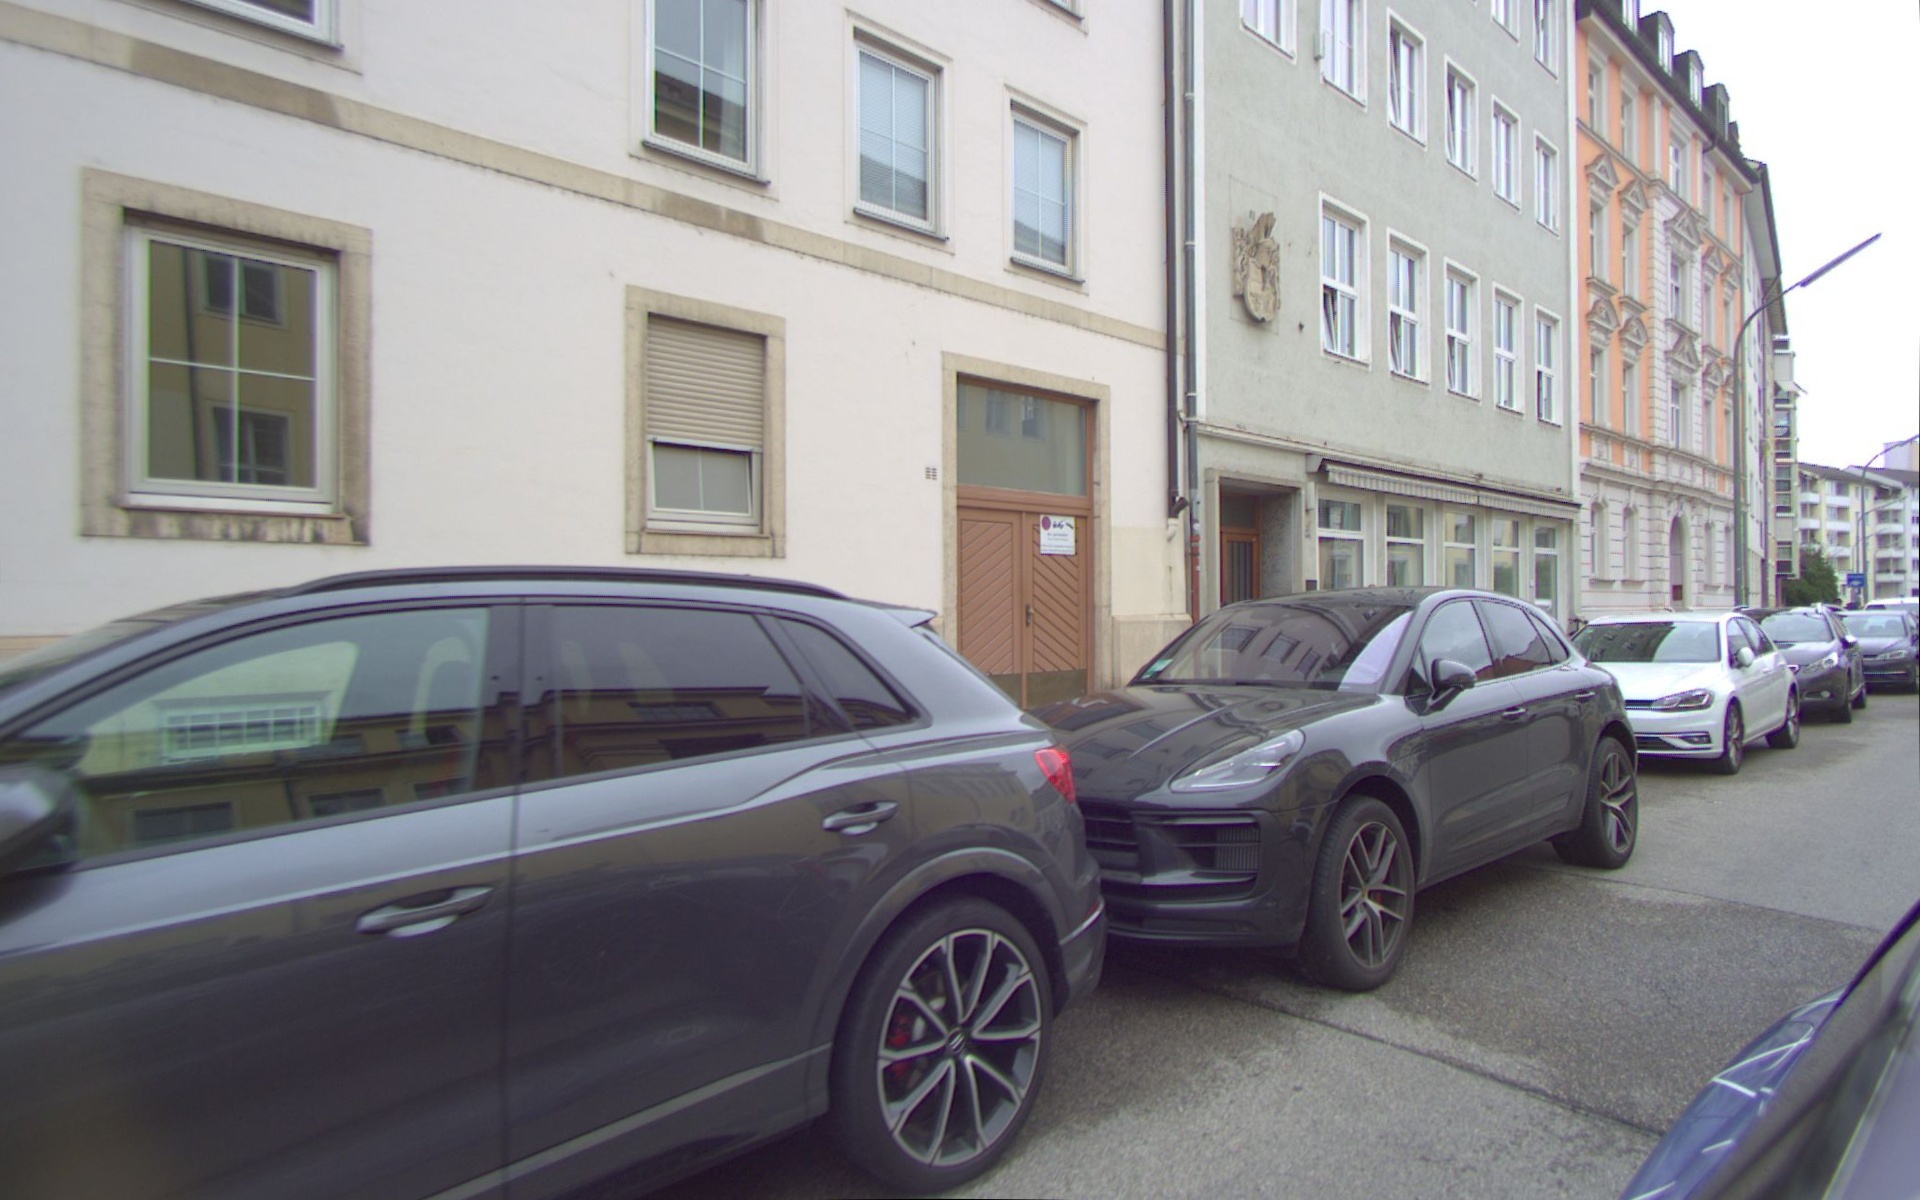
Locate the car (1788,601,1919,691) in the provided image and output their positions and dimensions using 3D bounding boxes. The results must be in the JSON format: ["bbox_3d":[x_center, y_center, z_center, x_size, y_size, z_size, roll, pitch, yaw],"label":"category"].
[{"bbox_3d":[16.732,0.784,18.487,4.010,1.470,1.695,0,-2,-40],"label":"car"}]

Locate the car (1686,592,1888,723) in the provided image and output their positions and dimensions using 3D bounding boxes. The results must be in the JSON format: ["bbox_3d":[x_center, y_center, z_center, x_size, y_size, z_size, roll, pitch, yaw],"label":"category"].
[{"bbox_3d":[11.826,0.734,14.385,4.015,1.604,1.693,0,-2,-44],"label":"car"}]

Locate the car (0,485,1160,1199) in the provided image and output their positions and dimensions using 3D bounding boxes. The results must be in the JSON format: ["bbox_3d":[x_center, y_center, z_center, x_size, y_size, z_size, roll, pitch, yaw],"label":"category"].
[{"bbox_3d":[-1.569,0.666,2.393,4.196,1.605,1.781,0,-2,-41],"label":"car"}]

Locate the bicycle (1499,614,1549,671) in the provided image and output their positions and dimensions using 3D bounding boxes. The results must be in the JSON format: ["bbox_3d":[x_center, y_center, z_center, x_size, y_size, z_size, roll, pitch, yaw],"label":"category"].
[{"bbox_3d":[10.655,0.779,19.100,1.495,1.017,0.331,0,0,-41],"label":"bicycle"}]

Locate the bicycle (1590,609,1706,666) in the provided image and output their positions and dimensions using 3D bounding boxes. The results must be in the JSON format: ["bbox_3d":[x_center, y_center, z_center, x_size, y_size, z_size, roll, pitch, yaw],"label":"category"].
[{"bbox_3d":[14.931,0.812,21.995,2.057,1.198,0.609,0,0,4],"label":"bicycle"}]

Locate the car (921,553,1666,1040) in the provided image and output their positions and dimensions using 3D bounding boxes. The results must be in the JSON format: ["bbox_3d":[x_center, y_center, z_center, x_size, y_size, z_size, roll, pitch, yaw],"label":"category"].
[{"bbox_3d":[2.019,0.672,5.410,4.252,1.605,1.782,0,-2,-40],"label":"car"}]

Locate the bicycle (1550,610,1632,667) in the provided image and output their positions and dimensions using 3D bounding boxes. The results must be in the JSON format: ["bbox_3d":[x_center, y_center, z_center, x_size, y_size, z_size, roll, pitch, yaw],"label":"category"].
[{"bbox_3d":[12.944,0.762,20.724,2.415,1.088,0.770,0,0,-41],"label":"bicycle"}]

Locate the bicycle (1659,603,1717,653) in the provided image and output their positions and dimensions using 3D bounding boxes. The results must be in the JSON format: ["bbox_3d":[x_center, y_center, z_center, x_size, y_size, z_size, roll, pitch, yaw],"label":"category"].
[{"bbox_3d":[18.252,0.705,25.360,2.057,1.198,0.652,2,0,-39],"label":"bicycle"}]

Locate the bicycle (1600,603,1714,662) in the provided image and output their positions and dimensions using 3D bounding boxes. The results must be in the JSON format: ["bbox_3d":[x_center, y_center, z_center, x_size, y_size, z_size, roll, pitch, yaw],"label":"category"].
[{"bbox_3d":[15.571,0.714,22.645,2.057,1.198,0.609,2,0,2],"label":"bicycle"}]

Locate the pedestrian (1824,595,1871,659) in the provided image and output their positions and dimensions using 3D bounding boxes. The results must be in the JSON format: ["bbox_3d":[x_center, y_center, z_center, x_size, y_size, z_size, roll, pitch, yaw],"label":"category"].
[{"bbox_3d":[23.655,0.700,26.978,0.636,1.683,0.862,1,-1,-41],"label":"pedestrian"}]

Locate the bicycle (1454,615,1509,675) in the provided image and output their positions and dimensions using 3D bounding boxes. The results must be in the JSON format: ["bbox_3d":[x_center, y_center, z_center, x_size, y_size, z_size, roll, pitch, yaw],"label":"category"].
[{"bbox_3d":[9.273,0.785,17.967,1.495,1.017,0.331,0,0,-41],"label":"bicycle"}]

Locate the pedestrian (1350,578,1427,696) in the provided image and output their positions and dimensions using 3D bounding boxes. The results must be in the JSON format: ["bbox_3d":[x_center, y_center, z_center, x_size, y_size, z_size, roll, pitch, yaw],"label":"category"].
[{"bbox_3d":[6.266,0.516,14.801,0.813,1.646,0.735,0,1,-41],"label":"pedestrian"}]

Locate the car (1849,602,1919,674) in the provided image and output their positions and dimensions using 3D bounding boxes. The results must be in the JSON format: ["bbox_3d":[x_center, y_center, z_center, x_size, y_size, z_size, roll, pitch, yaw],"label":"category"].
[{"bbox_3d":[20.920,0.795,22.348,4.231,1.470,1.599,0,-2,-45],"label":"car"}]

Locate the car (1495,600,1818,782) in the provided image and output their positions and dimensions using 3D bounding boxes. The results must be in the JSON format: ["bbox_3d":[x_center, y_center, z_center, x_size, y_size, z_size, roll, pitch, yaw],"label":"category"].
[{"bbox_3d":[7.182,0.777,10.283,4.011,1.483,1.694,0,-2,-41],"label":"car"}]

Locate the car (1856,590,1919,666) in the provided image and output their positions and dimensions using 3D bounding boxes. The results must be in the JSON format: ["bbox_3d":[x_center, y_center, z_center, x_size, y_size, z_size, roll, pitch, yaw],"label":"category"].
[{"bbox_3d":[24.574,0.688,25.867,4.810,1.809,1.843,0,-3,-41],"label":"car"}]

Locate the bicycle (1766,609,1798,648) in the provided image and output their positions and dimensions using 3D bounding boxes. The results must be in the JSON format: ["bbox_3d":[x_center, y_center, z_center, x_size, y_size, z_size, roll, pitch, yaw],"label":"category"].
[{"bbox_3d":[25.063,0.851,30.851,0.666,1.136,1.926,-1,-1,42],"label":"bicycle"}]

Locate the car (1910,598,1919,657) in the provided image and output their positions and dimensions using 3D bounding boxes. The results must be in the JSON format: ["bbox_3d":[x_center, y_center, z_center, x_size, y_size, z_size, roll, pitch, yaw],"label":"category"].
[{"bbox_3d":[28.656,0.739,29.134,3.570,1.663,1.605,0,-2,-43],"label":"car"}]
